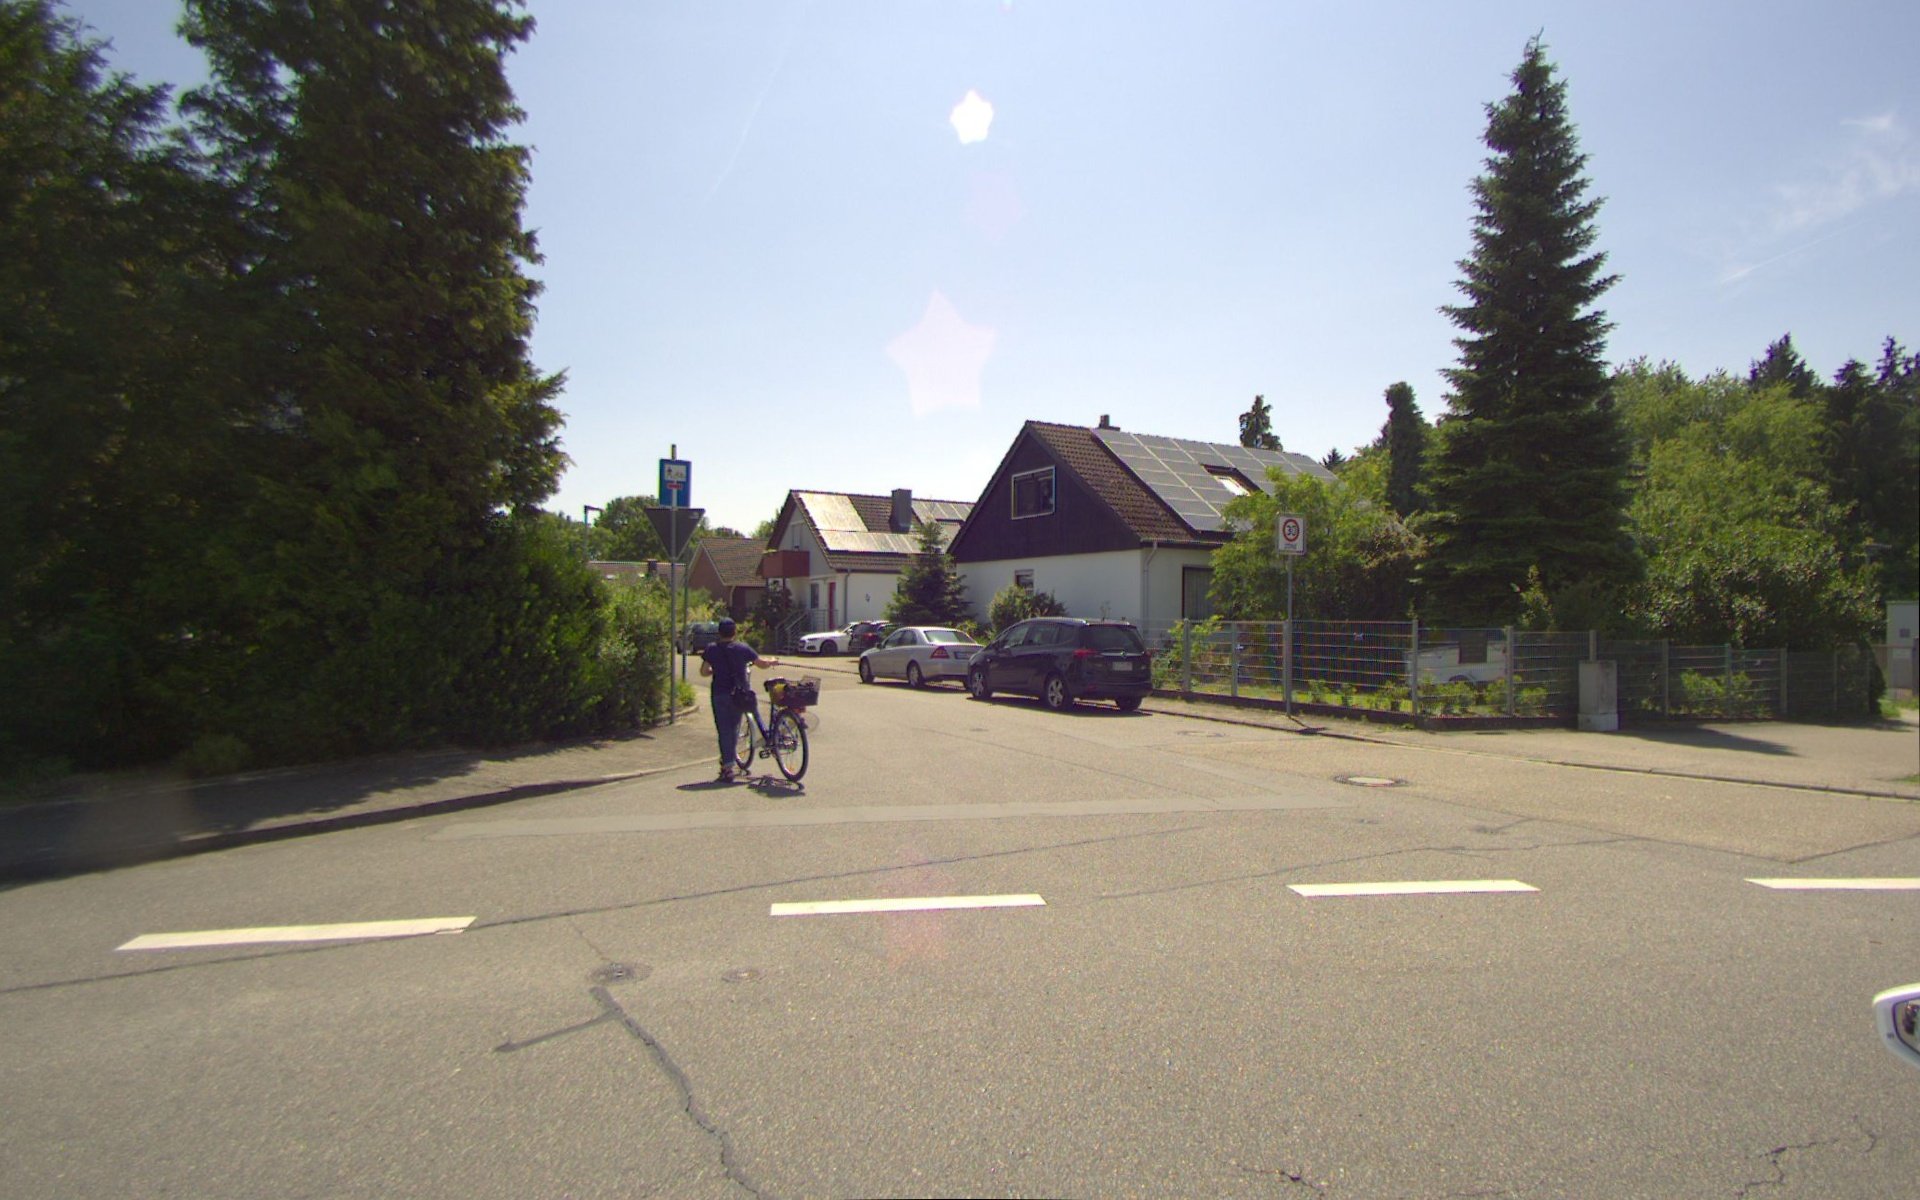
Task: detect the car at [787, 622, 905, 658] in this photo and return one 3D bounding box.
[{"bbox_3d":[-4.748,1.679,41.869,4.495,1.415,1.938,2,-1,-28],"label":"car"}]

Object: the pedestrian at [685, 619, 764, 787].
[{"bbox_3d":[-2.233,0.942,9.522,0.500,1.520,0.605,1,-1,-39],"label":"pedestrian"}]

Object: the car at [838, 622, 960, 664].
[{"bbox_3d":[-2.297,1.597,38.021,4.204,1.506,1.984,1,-1,-30],"label":"car"}]

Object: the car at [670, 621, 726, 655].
[{"bbox_3d":[-11.846,1.676,45.268,1.635,1.459,3.624,1,-1,-29],"label":"car"}]

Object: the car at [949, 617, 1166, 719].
[{"bbox_3d":[1.725,1.200,19.498,1.945,1.684,4.647,1,-1,-29],"label":"car"}]

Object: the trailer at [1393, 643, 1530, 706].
[{"bbox_3d":[9.945,1.441,19.995,1.096,1.098,2.198,1,-1,-37],"label":"trailer"}]

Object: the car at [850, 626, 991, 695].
[{"bbox_3d":[-1.054,1.393,24.315,1.671,1.479,4.304,1,-1,-29],"label":"car"}]

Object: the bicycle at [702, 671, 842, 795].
[{"bbox_3d":[-1.832,1.214,9.584,0.440,0.976,1.826,1,-1,-41],"label":"bicycle"}]
